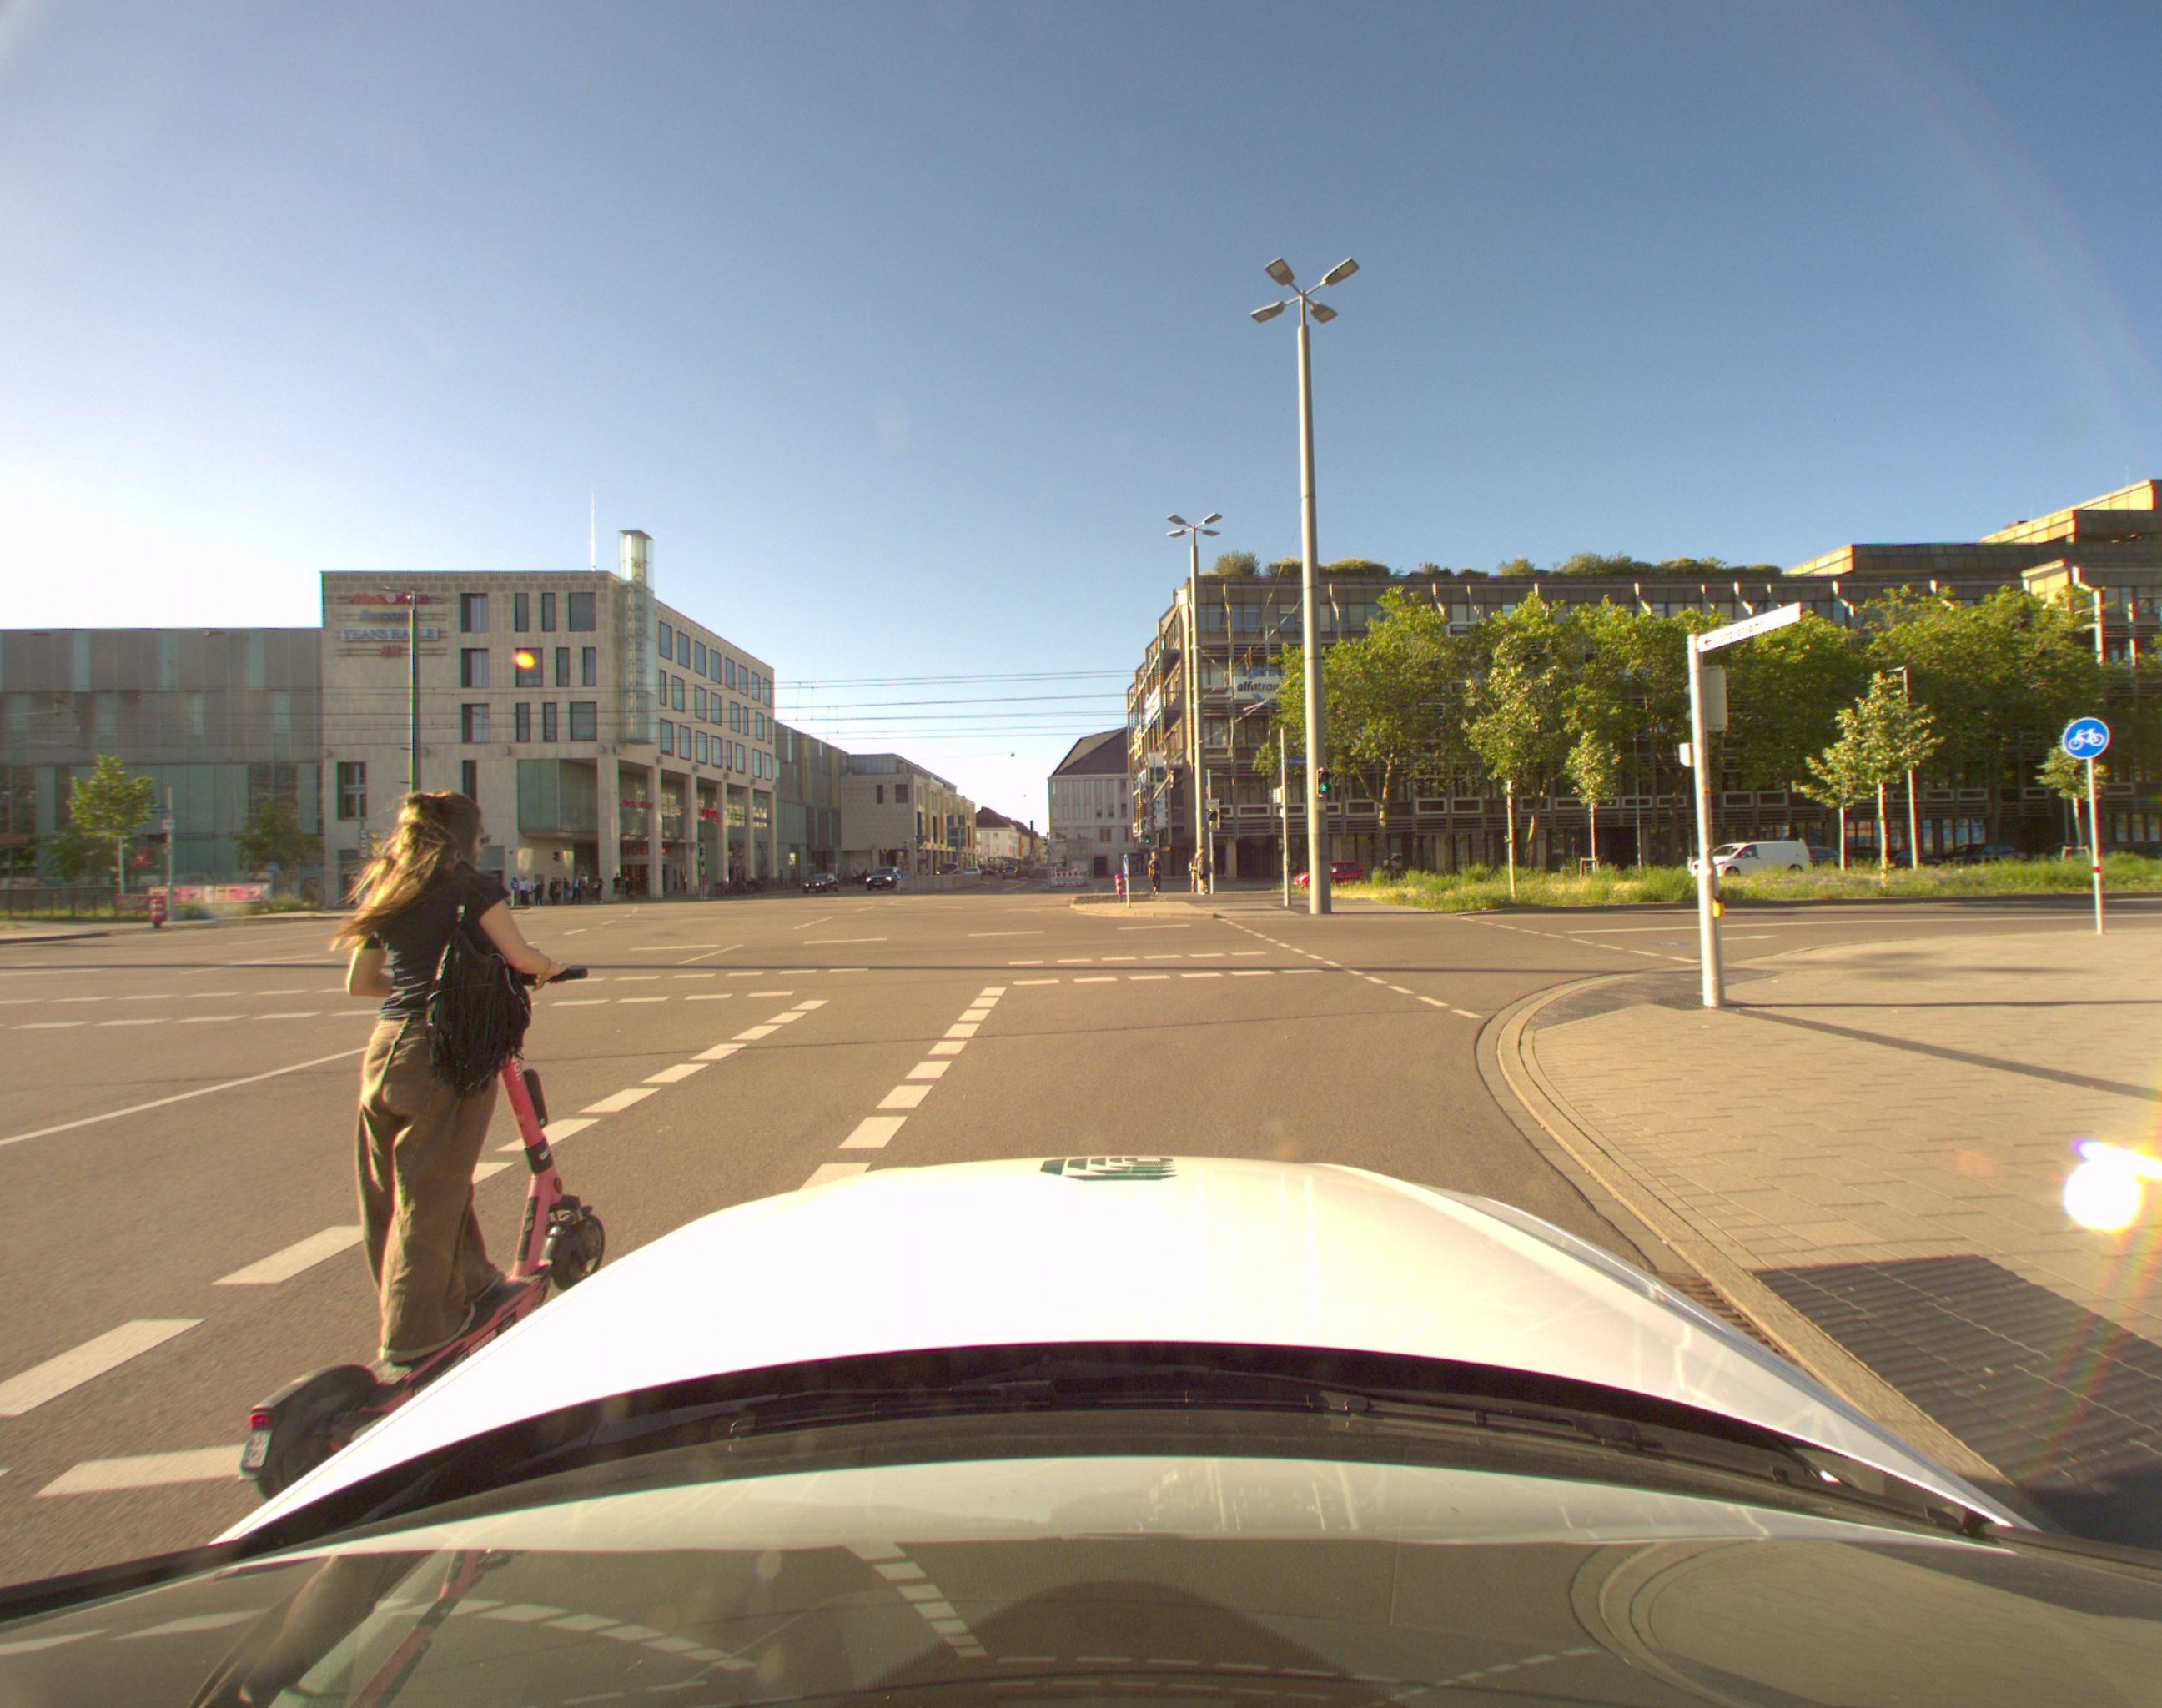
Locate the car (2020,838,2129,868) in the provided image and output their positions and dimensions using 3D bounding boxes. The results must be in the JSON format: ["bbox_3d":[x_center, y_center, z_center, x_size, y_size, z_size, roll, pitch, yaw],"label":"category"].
[{"bbox_3d":[60.722,-0.051,49.812,4.335,1.633,1.915,-1,-3,-1],"label":"car"}]

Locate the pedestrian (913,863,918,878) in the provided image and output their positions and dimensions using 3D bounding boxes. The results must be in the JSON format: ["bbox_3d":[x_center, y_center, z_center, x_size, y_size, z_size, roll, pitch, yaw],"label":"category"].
[{"bbox_3d":[-21.810,2.184,107.297,0.616,2.014,0.476,0,-1,-11],"label":"pedestrian"}]

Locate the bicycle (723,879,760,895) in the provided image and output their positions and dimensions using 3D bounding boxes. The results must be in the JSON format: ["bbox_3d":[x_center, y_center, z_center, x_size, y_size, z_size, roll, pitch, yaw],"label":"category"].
[{"bbox_3d":[-25.248,2.424,60.652,2.457,1.111,0.685,-1,-1,3],"label":"bicycle"}]

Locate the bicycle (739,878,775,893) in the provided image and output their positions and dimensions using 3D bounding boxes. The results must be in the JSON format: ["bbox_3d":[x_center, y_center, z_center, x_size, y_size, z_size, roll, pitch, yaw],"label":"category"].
[{"bbox_3d":[-24.983,2.426,62.817,2.457,1.111,0.685,-1,-1,4],"label":"bicycle"}]

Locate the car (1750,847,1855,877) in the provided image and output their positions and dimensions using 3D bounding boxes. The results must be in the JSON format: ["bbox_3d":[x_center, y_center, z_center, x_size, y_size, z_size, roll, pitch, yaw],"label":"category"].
[{"bbox_3d":[43.033,0.461,48.626,4.846,1.680,1.996,-1,0,-6],"label":"car"}]

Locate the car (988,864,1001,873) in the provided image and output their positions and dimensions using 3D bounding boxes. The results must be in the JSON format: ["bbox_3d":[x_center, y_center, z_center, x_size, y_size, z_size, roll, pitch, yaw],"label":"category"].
[{"bbox_3d":[-17.179,2.876,162.059,2.167,1.873,5.613,-1,-1,-1],"label":"car"}]

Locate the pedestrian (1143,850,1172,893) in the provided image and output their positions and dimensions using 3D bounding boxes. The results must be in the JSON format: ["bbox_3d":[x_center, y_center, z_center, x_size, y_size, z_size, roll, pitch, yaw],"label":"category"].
[{"bbox_3d":[2.849,0.642,30.400,0.893,1.549,0.923,-1,1,-3],"label":"pedestrian"}]

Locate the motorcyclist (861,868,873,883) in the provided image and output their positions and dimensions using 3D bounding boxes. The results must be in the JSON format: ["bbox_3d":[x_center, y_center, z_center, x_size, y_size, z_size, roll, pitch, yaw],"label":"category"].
[{"bbox_3d":[-23.260,2.351,88.521,1.134,1.575,0.915,0,-1,-4],"label":"motorcyclist"}]

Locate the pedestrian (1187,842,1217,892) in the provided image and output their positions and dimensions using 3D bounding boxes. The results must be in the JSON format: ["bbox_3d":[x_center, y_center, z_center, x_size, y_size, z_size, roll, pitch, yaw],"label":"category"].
[{"bbox_3d":[4.267,0.449,28.692,0.854,1.744,0.738,-1,0,-5],"label":"pedestrian"}]

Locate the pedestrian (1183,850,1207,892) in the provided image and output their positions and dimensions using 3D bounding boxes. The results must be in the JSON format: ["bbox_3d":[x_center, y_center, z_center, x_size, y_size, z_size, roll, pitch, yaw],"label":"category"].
[{"bbox_3d":[5.289,0.779,37.913,1.007,1.911,1.052,-1,-1,4],"label":"pedestrian"}]

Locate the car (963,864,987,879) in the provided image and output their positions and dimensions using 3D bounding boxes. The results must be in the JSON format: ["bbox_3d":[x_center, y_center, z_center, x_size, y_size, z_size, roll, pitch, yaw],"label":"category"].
[{"bbox_3d":[-12.817,2.106,98.406,2.167,1.692,5.613,-1,-1,-1],"label":"car"}]

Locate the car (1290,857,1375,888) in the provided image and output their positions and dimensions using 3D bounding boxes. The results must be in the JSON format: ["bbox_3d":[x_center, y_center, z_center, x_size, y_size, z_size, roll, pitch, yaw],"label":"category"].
[{"bbox_3d":[13.100,0.986,42.625,3.855,1.486,1.845,-2,-4,-1],"label":"car"}]

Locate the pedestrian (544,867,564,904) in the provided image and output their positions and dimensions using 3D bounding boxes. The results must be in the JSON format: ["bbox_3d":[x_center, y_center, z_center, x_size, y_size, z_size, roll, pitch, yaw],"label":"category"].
[{"bbox_3d":[-30.764,1.848,47.542,0.903,2.124,0.936,0,-1,-39],"label":"pedestrian"}]

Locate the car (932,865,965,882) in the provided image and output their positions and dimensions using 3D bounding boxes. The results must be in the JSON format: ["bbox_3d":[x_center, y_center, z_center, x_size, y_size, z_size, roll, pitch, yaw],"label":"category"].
[{"bbox_3d":[-13.482,1.993,83.191,2.165,1.692,5.490,-1,-1,3],"label":"car"}]

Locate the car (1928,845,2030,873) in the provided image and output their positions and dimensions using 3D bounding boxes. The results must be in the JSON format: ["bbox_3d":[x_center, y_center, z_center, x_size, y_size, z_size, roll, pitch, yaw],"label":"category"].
[{"bbox_3d":[54.166,0.271,49.159,4.599,1.557,1.747,-1,1,-5],"label":"car"}]

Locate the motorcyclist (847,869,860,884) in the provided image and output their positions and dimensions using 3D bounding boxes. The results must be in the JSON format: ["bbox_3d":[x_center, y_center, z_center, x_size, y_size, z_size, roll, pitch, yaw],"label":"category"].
[{"bbox_3d":[-23.754,2.336,85.054,1.034,1.471,0.915,0,-1,-4],"label":"motorcyclist"}]

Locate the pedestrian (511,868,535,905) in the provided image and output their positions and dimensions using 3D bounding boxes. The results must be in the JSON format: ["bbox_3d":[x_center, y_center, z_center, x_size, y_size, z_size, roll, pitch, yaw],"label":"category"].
[{"bbox_3d":[-32.672,1.886,47.680,0.897,2.124,0.942,-1,-1,-14],"label":"pedestrian"}]

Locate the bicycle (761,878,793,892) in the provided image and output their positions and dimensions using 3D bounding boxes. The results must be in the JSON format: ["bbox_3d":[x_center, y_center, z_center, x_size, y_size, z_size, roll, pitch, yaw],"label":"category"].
[{"bbox_3d":[-24.927,2.529,66.765,2.457,1.111,0.538,-1,-1,4],"label":"bicycle"}]

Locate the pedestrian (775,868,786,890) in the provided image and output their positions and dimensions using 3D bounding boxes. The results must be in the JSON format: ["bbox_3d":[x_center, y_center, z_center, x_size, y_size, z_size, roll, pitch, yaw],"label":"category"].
[{"bbox_3d":[-28.126,2.346,76.126,0.949,1.982,1.001,-1,-1,-21],"label":"pedestrian"}]

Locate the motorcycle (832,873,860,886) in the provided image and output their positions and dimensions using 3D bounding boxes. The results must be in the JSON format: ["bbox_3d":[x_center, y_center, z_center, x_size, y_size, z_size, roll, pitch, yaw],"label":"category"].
[{"bbox_3d":[-23.859,2.595,82.706,2.662,1.217,0.915,0,-1,-4],"label":"motorcycle"}]

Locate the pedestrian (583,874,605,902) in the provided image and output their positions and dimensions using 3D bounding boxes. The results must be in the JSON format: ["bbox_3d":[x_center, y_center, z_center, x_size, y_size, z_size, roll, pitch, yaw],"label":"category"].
[{"bbox_3d":[-29.624,2.057,49.514,1.013,1.651,0.937,0,-1,-39],"label":"pedestrian"}]

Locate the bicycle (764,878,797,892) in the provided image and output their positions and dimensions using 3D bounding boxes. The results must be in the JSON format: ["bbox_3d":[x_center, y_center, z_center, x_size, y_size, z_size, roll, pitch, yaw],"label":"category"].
[{"bbox_3d":[-24.861,2.538,67.396,2.457,1.111,0.685,-1,-1,4],"label":"bicycle"}]

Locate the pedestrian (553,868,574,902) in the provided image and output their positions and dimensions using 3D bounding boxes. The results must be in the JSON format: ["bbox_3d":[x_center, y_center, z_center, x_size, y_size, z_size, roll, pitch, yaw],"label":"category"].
[{"bbox_3d":[-31.338,1.884,49.309,0.919,2.014,1.015,-1,-1,-26],"label":"pedestrian"}]

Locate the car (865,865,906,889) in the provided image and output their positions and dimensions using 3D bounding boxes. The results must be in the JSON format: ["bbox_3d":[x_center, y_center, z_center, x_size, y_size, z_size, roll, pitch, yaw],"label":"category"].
[{"bbox_3d":[-14.055,1.632,58.800,1.932,1.677,4.292,-1,-1,-1],"label":"car"}]

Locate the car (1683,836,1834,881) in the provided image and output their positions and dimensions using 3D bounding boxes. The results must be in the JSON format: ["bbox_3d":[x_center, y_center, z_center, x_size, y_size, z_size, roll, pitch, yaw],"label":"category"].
[{"bbox_3d":[33.404,0.227,40.281,5.677,2.014,2.263,-1,-3,-3],"label":"car"}]

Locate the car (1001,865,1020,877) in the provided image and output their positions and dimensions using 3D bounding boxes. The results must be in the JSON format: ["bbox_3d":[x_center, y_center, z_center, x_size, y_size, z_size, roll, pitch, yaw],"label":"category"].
[{"bbox_3d":[-8.483,2.054,98.444,1.930,1.450,4.261,-1,-1,0],"label":"car"}]

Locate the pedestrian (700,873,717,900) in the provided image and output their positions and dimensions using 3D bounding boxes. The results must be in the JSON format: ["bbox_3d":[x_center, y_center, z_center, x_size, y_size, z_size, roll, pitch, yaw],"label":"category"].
[{"bbox_3d":[-24.089,2.088,52.641,0.748,1.740,0.757,-1,-1,1],"label":"pedestrian"}]

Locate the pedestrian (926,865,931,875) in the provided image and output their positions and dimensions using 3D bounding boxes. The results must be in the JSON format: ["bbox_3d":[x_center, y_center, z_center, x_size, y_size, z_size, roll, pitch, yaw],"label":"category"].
[{"bbox_3d":[-20.548,2.136,109.726,0.487,1.356,0.563,0,-1,-3],"label":"pedestrian"}]

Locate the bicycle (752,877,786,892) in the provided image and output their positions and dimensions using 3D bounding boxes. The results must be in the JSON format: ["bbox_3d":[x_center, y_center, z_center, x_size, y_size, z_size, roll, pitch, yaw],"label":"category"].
[{"bbox_3d":[-24.727,2.389,64.599,2.457,1.111,0.685,-1,-1,4],"label":"bicycle"}]

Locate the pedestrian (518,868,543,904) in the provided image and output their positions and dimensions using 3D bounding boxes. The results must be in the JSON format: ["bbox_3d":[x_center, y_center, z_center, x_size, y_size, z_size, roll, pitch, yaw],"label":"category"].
[{"bbox_3d":[-33.012,1.886,48.851,0.895,2.124,0.944,-1,-1,-8],"label":"pedestrian"}]

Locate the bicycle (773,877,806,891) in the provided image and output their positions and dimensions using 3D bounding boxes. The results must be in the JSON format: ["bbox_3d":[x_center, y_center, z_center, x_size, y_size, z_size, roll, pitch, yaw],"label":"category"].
[{"bbox_3d":[-24.705,2.546,69.106,2.457,1.111,0.836,-1,-1,4],"label":"bicycle"}]

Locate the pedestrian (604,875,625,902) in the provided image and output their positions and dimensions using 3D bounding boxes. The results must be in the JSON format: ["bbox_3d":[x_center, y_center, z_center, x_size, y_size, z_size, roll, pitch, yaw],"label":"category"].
[{"bbox_3d":[-27.934,2.079,48.729,0.950,1.571,0.832,0,-1,-39],"label":"pedestrian"}]

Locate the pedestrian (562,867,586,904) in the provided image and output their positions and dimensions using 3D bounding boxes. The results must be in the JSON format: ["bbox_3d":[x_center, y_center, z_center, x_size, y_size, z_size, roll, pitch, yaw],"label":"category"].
[{"bbox_3d":[-30.068,1.836,48.281,1.068,2.129,1.085,0,-1,-39],"label":"pedestrian"}]

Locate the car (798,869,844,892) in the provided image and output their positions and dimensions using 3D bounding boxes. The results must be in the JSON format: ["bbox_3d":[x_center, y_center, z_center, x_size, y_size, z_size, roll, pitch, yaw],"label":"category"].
[{"bbox_3d":[-19.252,1.925,60.468,1.930,1.581,4.295,-1,0,1],"label":"car"}]

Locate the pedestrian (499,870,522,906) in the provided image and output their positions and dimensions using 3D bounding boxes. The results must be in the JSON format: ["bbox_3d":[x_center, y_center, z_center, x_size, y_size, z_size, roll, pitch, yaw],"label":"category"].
[{"bbox_3d":[-34.110,2.012,48.697,0.899,2.124,0.939,-1,-1,-23],"label":"pedestrian"}]

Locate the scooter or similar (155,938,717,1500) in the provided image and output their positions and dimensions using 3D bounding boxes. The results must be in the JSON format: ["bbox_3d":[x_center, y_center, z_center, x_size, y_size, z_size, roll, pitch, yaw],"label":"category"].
[{"bbox_3d":[-1.854,0.936,2.667,0.640,1.175,1.483,0,-1,0],"label":"scooter or similar"}]

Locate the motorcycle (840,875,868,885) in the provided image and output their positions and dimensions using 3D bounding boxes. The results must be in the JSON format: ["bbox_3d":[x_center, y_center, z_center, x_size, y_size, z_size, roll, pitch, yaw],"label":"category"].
[{"bbox_3d":[-23.673,2.734,85.065,2.662,0.996,0.915,0,-1,-4],"label":"motorcycle"}]

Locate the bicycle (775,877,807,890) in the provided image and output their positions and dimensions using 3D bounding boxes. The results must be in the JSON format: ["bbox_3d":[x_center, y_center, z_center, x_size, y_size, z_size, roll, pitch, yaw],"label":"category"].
[{"bbox_3d":[-25.333,2.580,71.233,2.457,1.111,0.836,-1,-1,4],"label":"bicycle"}]

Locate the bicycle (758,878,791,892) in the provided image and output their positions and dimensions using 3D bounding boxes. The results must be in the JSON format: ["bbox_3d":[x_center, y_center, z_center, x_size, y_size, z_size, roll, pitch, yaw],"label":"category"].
[{"bbox_3d":[-24.924,2.522,66.170,2.457,1.111,0.594,-1,-1,4],"label":"bicycle"}]

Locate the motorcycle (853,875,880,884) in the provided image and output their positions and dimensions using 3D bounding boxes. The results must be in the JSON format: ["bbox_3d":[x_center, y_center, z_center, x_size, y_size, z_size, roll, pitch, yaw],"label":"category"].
[{"bbox_3d":[-23.286,2.777,88.501,2.662,0.996,0.915,0,-1,-4],"label":"motorcycle"}]

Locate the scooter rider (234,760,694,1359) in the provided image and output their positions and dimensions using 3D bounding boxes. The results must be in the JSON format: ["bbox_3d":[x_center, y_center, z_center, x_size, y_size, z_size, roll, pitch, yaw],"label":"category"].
[{"bbox_3d":[-1.861,0.533,2.670,0.640,1.544,1.117,0,-1,0],"label":"scooter rider"}]

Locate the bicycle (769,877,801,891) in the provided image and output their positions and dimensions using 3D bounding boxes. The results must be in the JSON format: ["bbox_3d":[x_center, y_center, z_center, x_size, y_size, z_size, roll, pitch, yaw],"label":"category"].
[{"bbox_3d":[-24.793,2.537,68.168,2.457,1.111,0.685,-1,-1,4],"label":"bicycle"}]

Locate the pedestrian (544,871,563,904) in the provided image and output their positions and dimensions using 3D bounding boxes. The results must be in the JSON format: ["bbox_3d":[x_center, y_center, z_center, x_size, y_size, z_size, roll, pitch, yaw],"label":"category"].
[{"bbox_3d":[-32.526,2.066,50.192,0.921,2.014,1.012,0,-1,-37],"label":"pedestrian"}]

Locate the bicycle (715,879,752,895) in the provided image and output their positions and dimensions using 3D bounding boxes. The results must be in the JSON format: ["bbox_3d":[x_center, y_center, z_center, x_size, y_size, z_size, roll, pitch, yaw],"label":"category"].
[{"bbox_3d":[-25.303,2.415,59.306,2.392,1.113,0.658,-1,-1,3],"label":"bicycle"}]

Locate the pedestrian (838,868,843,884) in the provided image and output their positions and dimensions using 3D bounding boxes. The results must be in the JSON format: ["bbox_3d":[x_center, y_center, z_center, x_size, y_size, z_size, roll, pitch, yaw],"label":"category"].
[{"bbox_3d":[-30.785,2.787,104.338,0.616,2.014,0.476,0,-1,-11],"label":"pedestrian"}]

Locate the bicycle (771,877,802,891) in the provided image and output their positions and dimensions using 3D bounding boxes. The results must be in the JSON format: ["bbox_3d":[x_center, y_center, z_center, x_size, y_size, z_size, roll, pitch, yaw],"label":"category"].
[{"bbox_3d":[-25.313,2.565,69.978,2.457,1.111,0.685,-1,-1,4],"label":"bicycle"}]

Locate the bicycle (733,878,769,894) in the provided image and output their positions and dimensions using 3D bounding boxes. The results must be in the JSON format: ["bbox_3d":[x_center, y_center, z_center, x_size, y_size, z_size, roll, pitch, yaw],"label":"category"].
[{"bbox_3d":[-25.125,2.435,62.014,2.455,1.111,0.685,-1,-1,5],"label":"bicycle"}]

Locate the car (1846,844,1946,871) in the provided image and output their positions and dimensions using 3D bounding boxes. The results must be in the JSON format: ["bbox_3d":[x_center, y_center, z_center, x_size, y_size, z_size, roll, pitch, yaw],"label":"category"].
[{"bbox_3d":[48.792,0.212,48.797,3.974,1.521,2.000,-1,0,0],"label":"car"}]

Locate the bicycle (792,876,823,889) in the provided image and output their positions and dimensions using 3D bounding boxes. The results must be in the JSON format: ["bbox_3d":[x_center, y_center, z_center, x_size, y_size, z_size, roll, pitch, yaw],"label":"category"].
[{"bbox_3d":[-25.042,2.625,74.569,2.457,1.111,0.836,-1,-1,4],"label":"bicycle"}]

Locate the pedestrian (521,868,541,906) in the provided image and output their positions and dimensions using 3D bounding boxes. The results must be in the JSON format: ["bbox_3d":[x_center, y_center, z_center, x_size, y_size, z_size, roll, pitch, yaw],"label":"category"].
[{"bbox_3d":[-31.687,1.877,46.961,0.901,2.124,0.937,-1,-1,-32],"label":"pedestrian"}]

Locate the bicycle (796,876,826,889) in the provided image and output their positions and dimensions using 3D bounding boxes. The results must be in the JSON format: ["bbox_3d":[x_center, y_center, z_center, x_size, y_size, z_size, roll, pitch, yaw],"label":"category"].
[{"bbox_3d":[-24.989,2.624,75.377,2.457,1.111,0.661,-1,-1,4],"label":"bicycle"}]
